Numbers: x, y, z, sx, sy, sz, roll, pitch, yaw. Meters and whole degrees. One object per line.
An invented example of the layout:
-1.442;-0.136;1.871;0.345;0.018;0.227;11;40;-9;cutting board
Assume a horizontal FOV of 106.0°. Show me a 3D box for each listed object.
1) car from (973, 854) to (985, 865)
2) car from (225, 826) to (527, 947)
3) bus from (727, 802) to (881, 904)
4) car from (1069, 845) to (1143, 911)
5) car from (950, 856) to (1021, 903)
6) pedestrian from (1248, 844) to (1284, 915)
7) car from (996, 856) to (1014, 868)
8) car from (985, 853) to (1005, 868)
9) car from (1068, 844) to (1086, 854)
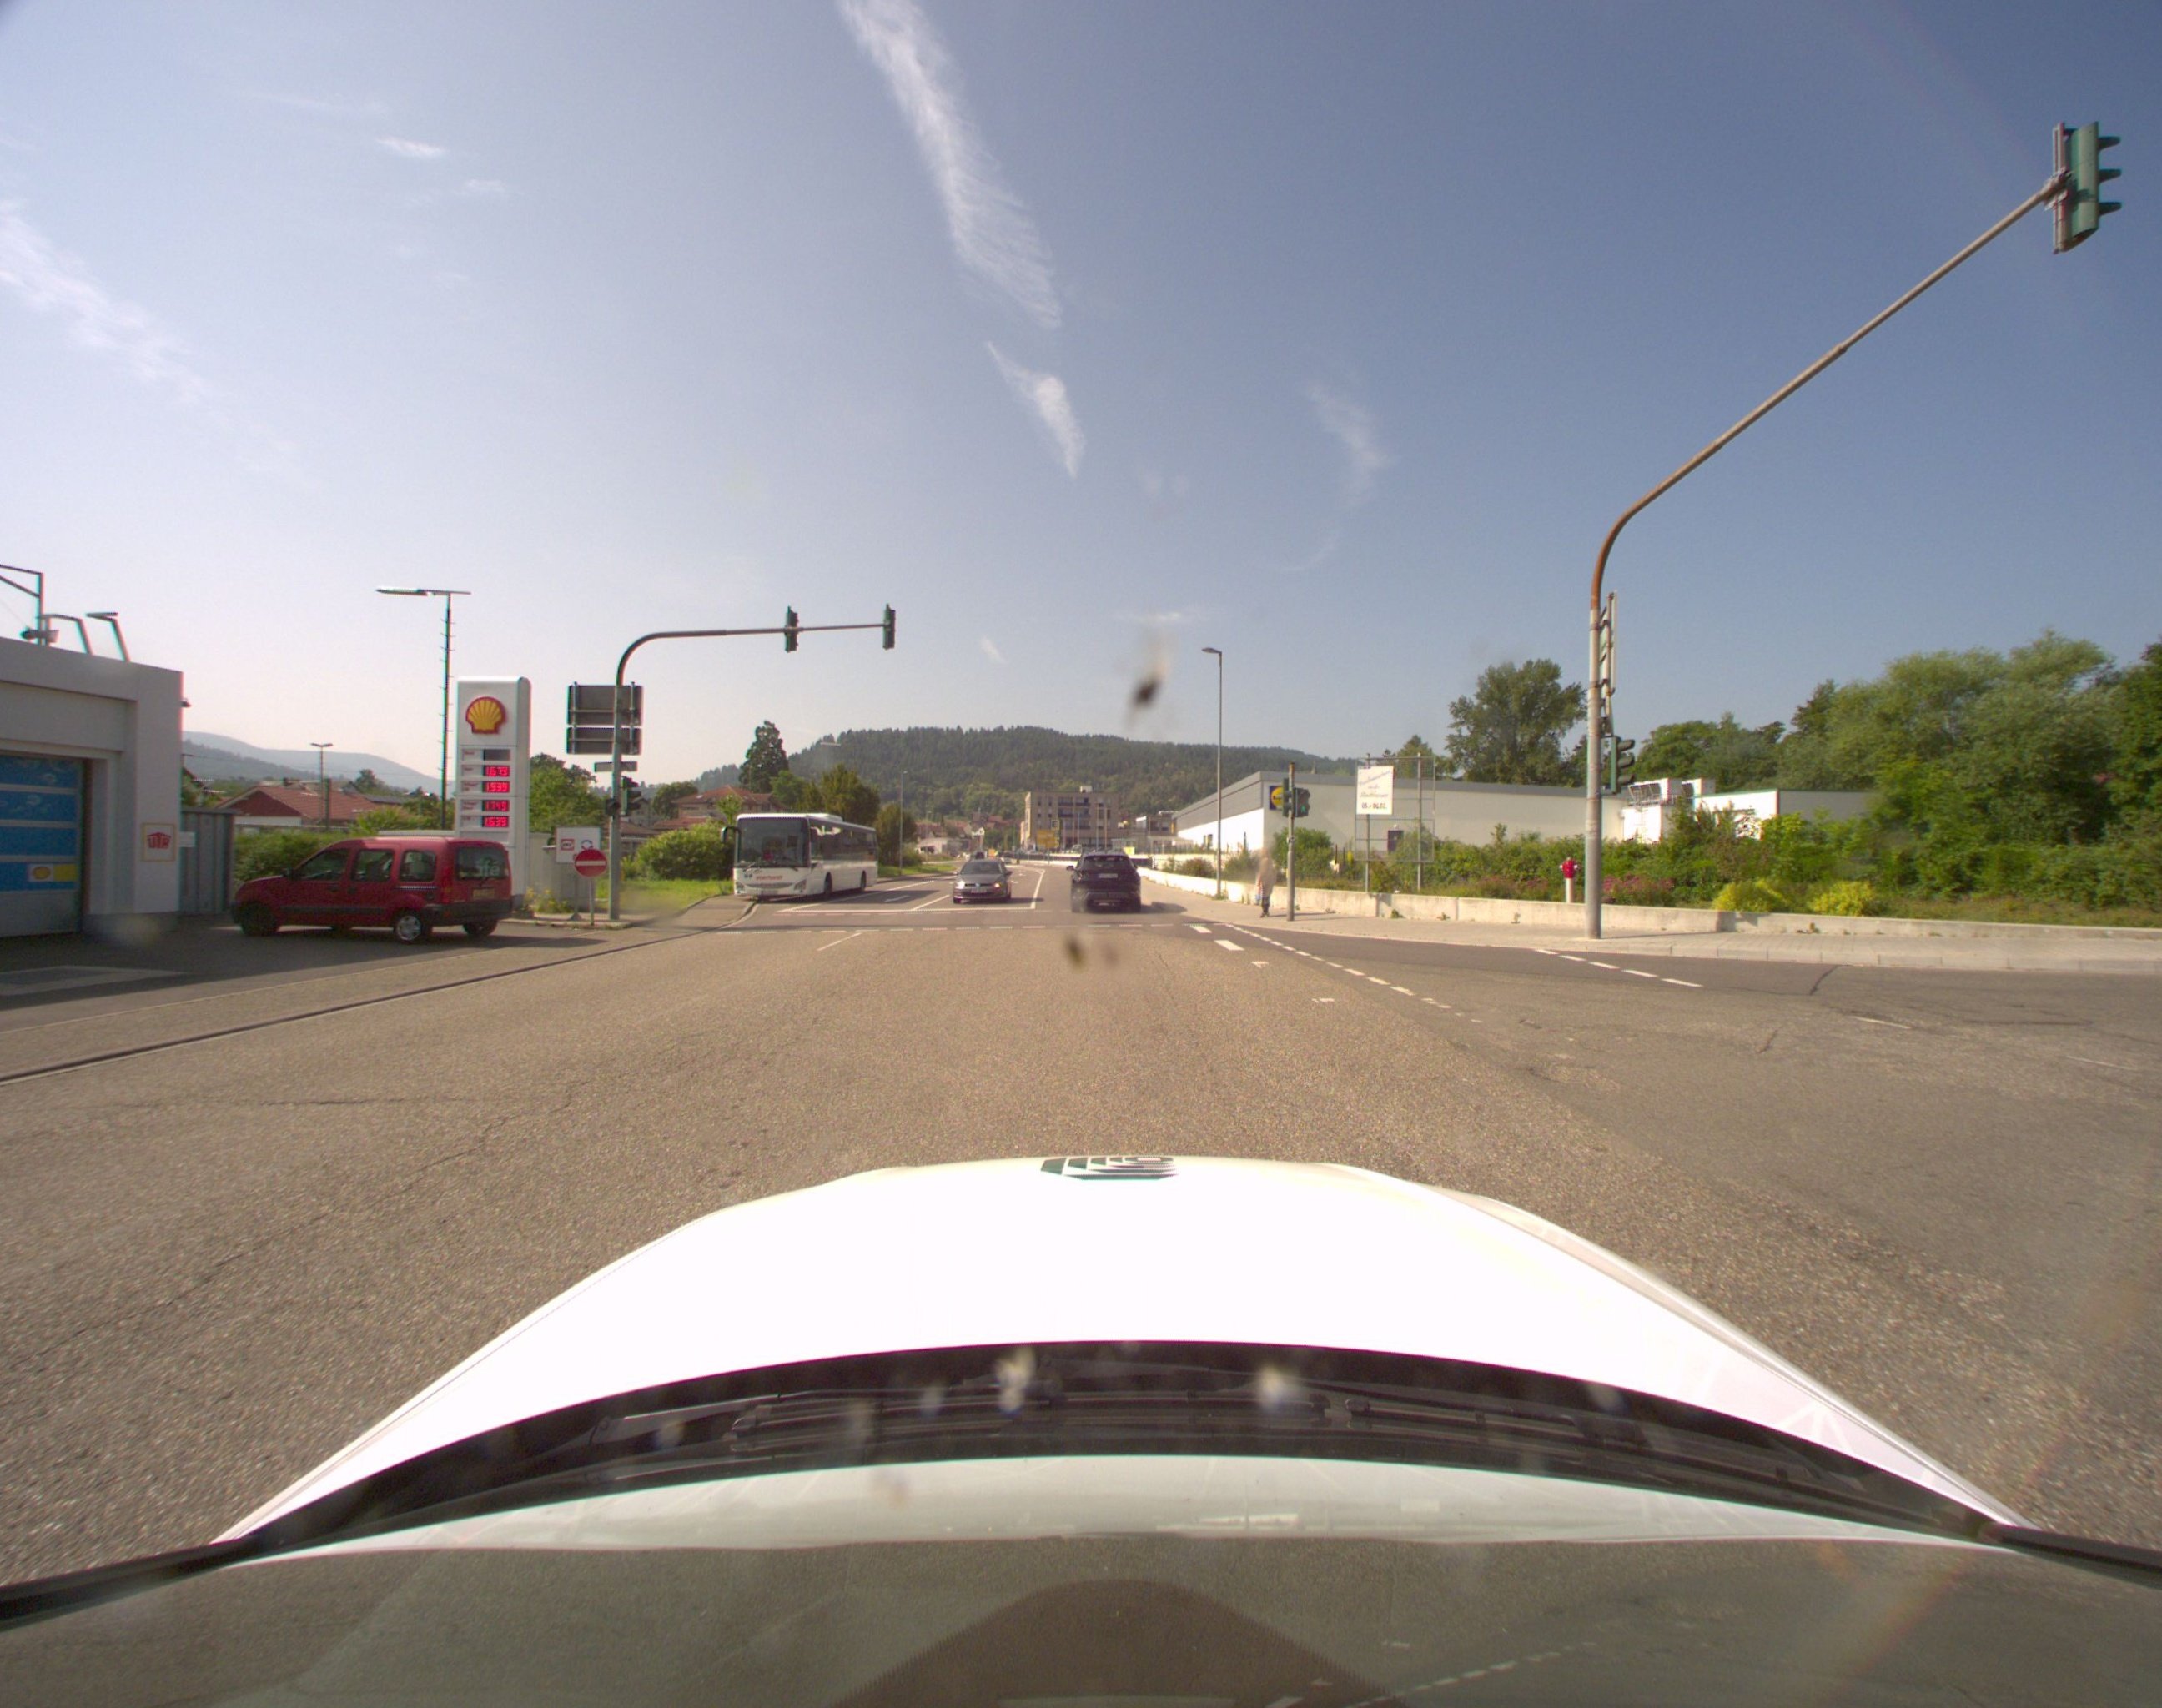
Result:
-18.936;0.996;151.625;1.989;2.014;3.994;-1;0;-4;car
-12.216;0.531;14.283;3.760;1.795;1.703;3;0;2;car
-10.516;-0.006;32.613;2.615;3.310;11.944;-1;0;-3;bus
0.739;0.630;22.939;1.873;1.684;4.003;-1;0;3;car
-3.195;0.810;28.002;1.765;1.473;4.222;-1;0;2;car
4.416;0.594;19.503;0.708;1.671;0.593;-1;-1;-2;pedestrian
-12.882;1.305;138.320;2.001;2.014;3.971;0;0;-21;car
-9.177;0.697;87.075;1.833;1.492;4.427;-1;0;-3;car
-0.907;-1.045;177.503;3.974;2.136;2.000;-1;0;0;car
